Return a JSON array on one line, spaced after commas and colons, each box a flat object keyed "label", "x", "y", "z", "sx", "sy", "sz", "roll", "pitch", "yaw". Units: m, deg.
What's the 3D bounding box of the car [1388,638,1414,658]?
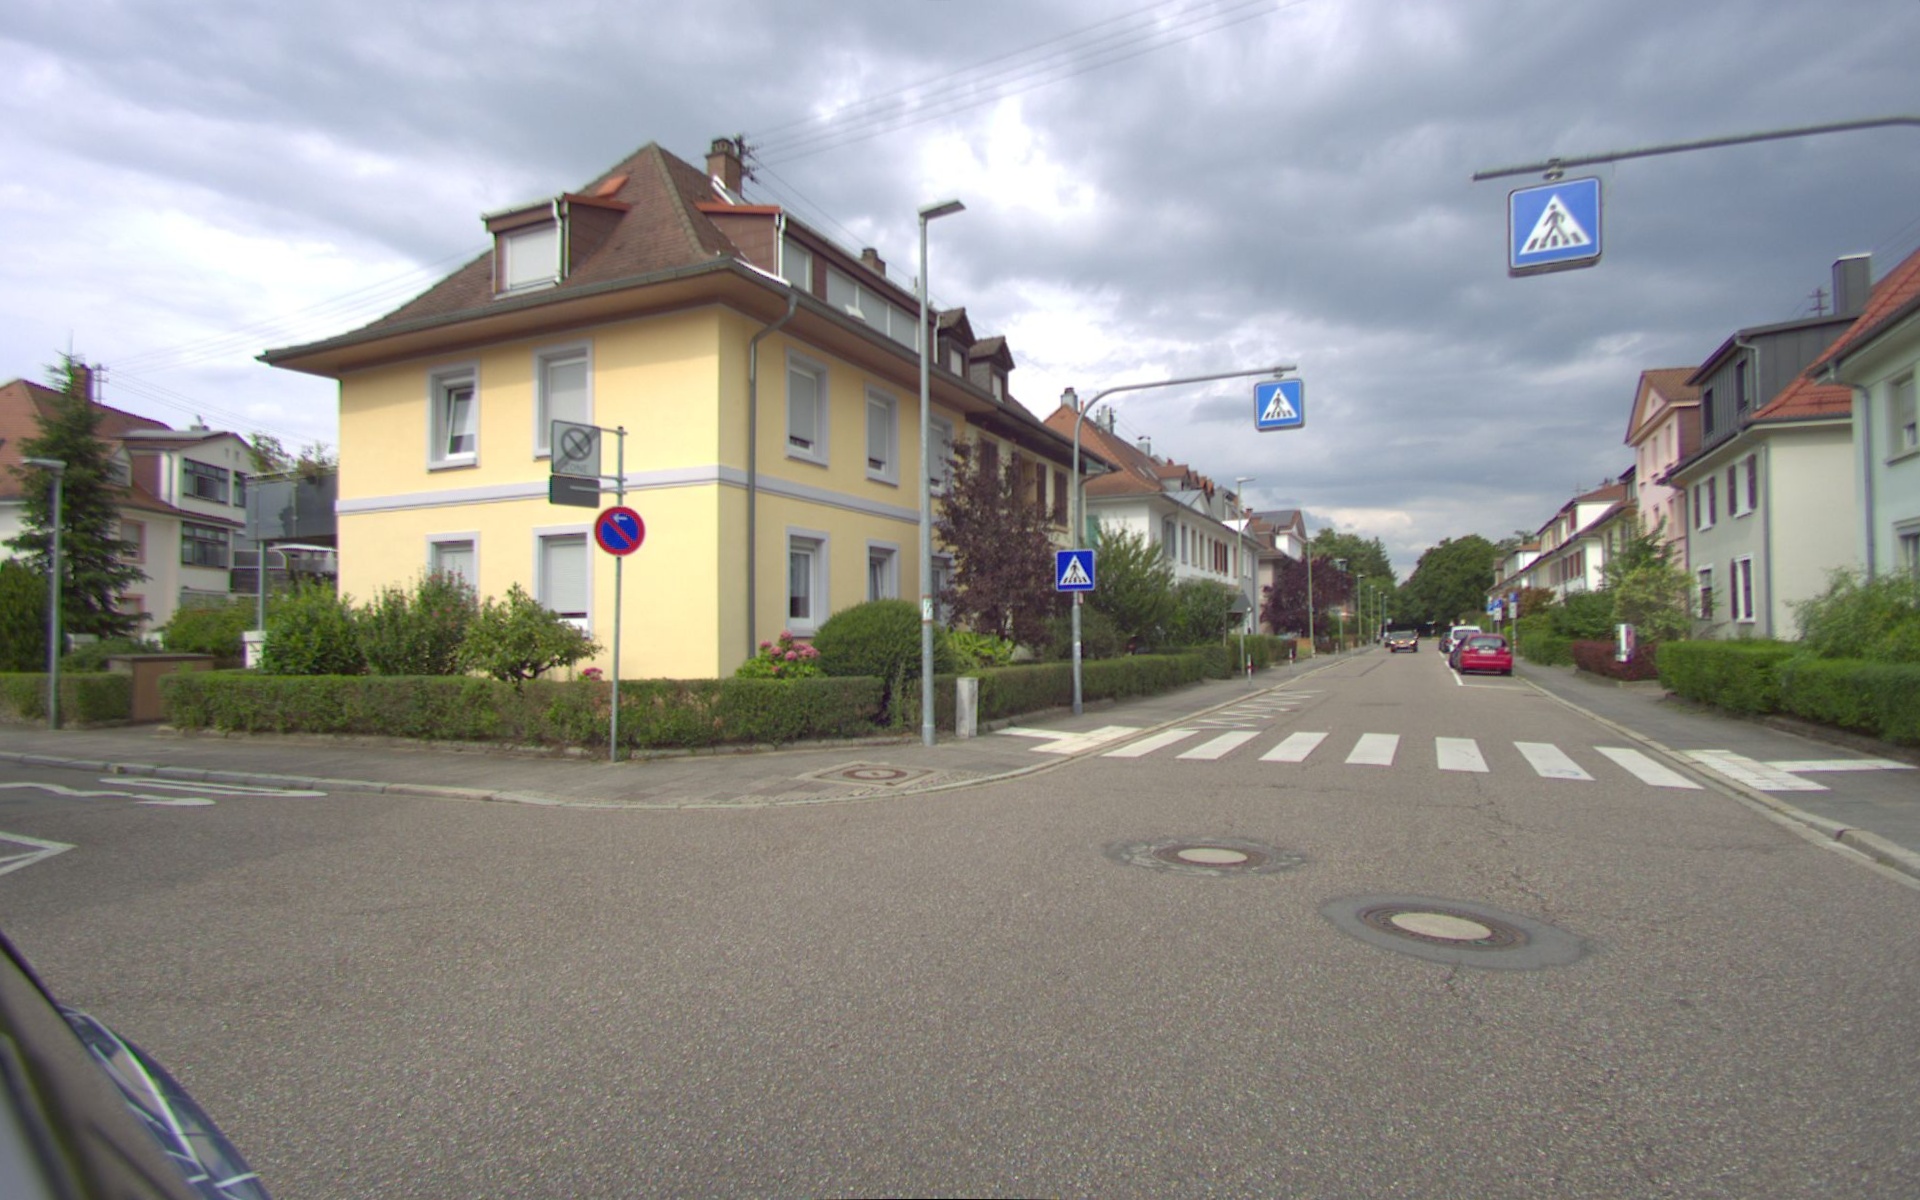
[{"label": "car", "x": 34.388, "y": 3.722, "z": 78.966, "sx": 1.825, "sy": 1.497, "sz": 3.967, "roll": 0, "pitch": -2, "yaw": 24}]

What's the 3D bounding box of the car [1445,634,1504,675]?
[{"label": "car", "x": 21.456, "y": 2.242, "z": 42.304, "sx": 1.988, "sy": 1.586, "sz": 3.966, "roll": -2, "pitch": -2, "yaw": 25}]

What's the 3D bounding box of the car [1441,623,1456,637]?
[{"label": "car", "x": 76.484, "y": 4.715, "z": 158.531, "sx": 1.989, "sy": 2.029, "sz": 3.965, "roll": 0, "pitch": -2, "yaw": 25}]

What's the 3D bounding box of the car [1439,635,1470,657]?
[{"label": "car", "x": 37.827, "y": 3.500, "z": 77.416, "sx": 1.988, "sy": 1.586, "sz": 3.966, "roll": -2, "pitch": -2, "yaw": 25}]

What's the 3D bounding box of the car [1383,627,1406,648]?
[{"label": "car", "x": 43.412, "y": 3.716, "z": 100.988, "sx": 1.989, "sy": 2.029, "sz": 3.966, "roll": -1, "pitch": -2, "yaw": 25}]

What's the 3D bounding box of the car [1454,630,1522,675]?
[{"label": "car", "x": 19.497, "y": 1.916, "z": 37.503, "sx": 1.988, "sy": 1.586, "sz": 3.966, "roll": -2, "pitch": -2, "yaw": 25}]

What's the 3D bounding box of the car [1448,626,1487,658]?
[{"label": "car", "x": 31.426, "y": 2.601, "z": 62.763, "sx": 1.988, "sy": 1.918, "sz": 3.966, "roll": -2, "pitch": -2, "yaw": 25}]
